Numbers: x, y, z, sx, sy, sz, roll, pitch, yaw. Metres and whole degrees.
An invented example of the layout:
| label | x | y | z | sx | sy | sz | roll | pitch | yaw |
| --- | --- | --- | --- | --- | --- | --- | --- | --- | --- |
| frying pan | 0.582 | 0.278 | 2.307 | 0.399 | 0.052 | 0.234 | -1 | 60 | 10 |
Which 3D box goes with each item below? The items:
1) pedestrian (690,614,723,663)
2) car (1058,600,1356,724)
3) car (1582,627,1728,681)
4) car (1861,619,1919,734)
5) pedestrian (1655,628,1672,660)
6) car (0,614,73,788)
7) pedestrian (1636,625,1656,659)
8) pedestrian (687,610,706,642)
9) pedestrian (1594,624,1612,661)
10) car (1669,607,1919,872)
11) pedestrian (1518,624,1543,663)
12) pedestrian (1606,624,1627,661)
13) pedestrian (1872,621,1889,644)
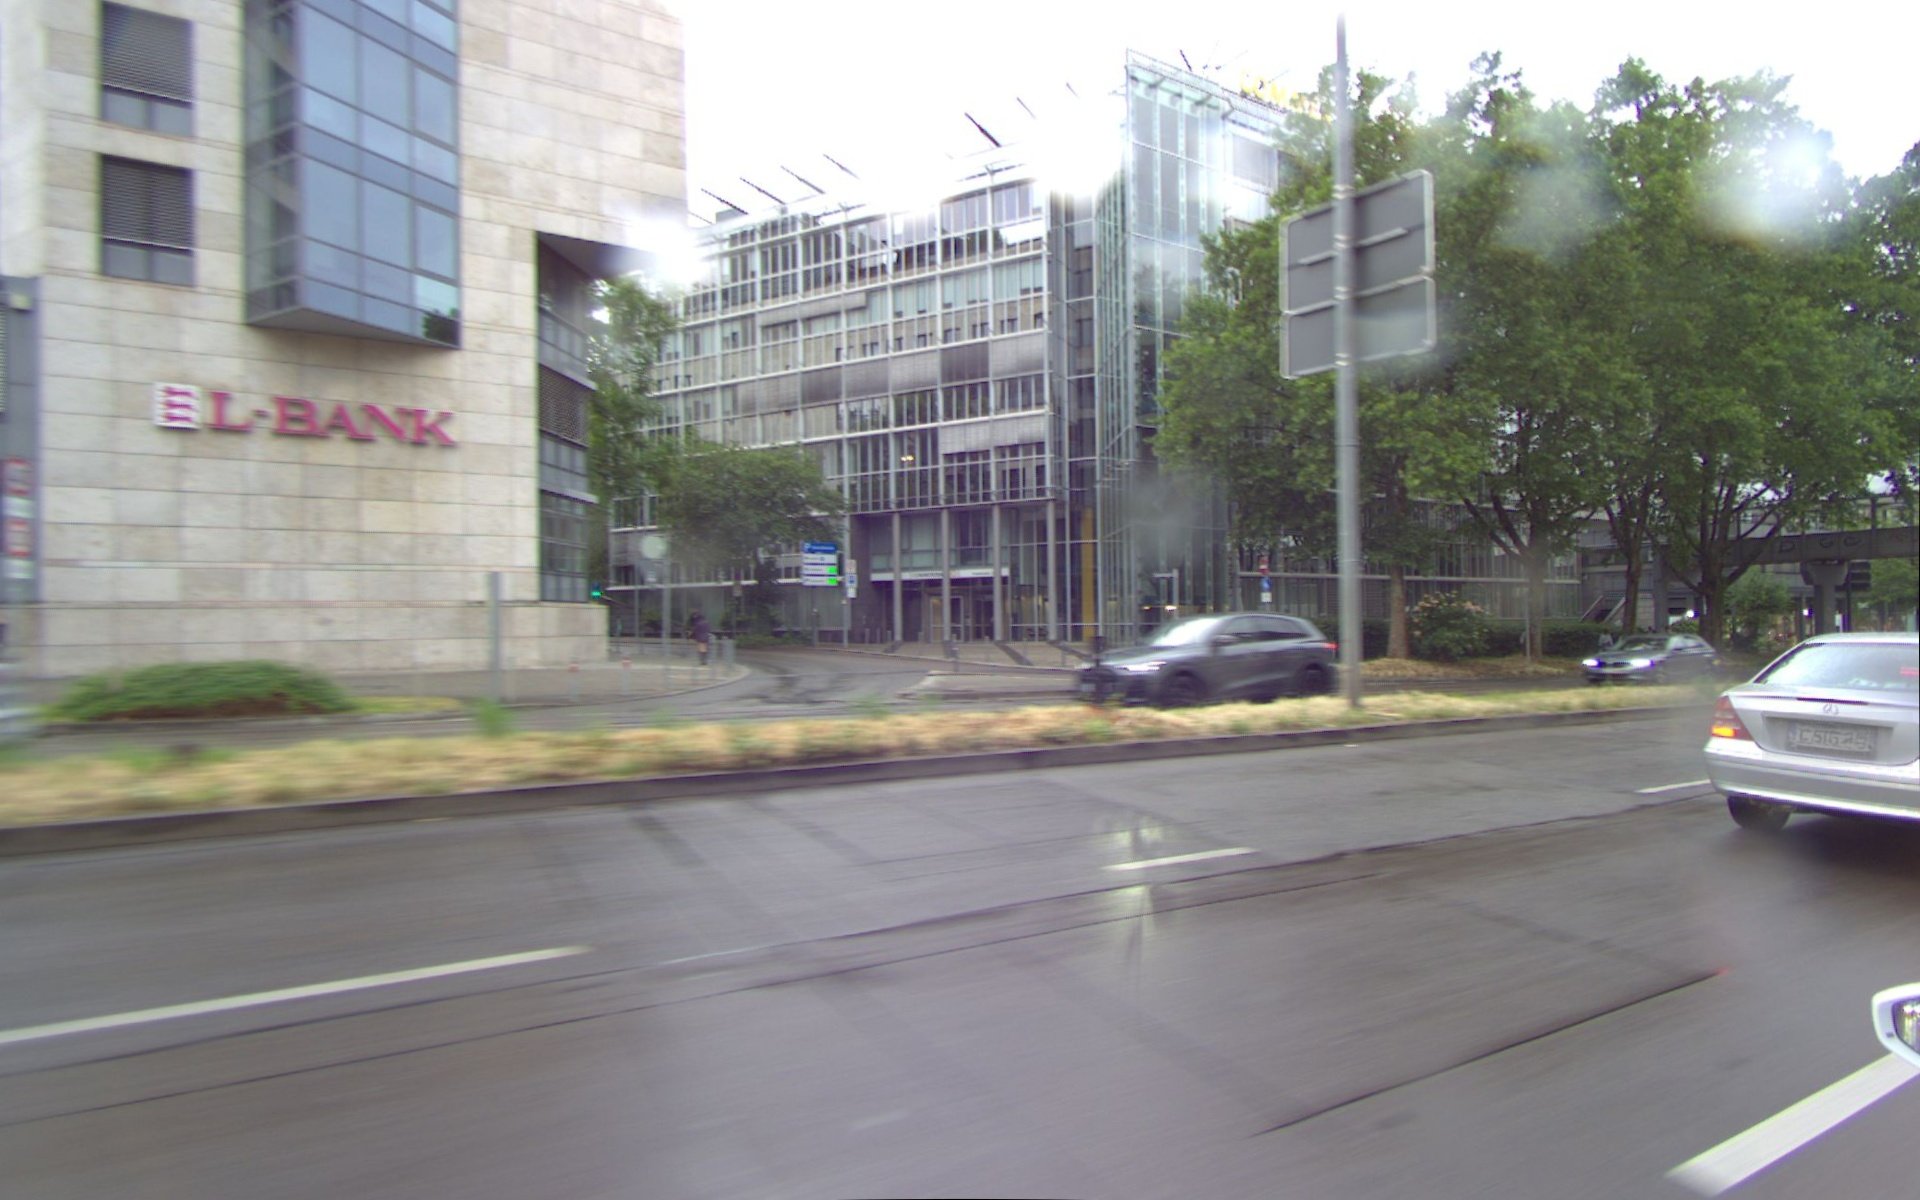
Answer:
| label | x | y | z | sx | sy | sz | roll | pitch | yaw |
| --- | --- | --- | --- | --- | --- | --- | --- | --- | --- |
| pedestrian | -8.367 | 1.261 | 33.190 | 0.658 | 1.591 | 0.818 | -1 | 0 | 38 |
| car | 3.968 | 0.951 | 15.895 | 4.626 | 1.702 | 1.865 | 2 | -2 | -31 |
| car | 20.212 | 1.565 | 29.164 | 4.703 | 1.457 | 1.683 | 2 | -2 | -30 |
| car | 14.729 | 1.019 | 13.820 | 4.815 | 1.498 | 1.866 | 1 | -3 | -27 |
| pedestrian | 37.882 | 2.349 | 54.088 | 0.505 | 1.708 | 0.557 | 0 | -1 | -30 |
| car | -9.729 | 0.763 | 7.707 | 4.066 | 1.378 | 1.590 | 2 | -2 | -28 |
| pedestrian | 37.401 | 2.286 | 54.750 | 0.610 | 1.832 | 0.719 | 0 | -1 | -30 |
| pedestrian | -14.053 | 1.375 | 53.617 | 0.647 | 1.652 | 0.740 | -1 | 0 | 38 |
| pedestrian | 31.967 | 2.099 | 49.951 | 0.505 | 1.832 | 0.603 | 0 | -1 | -30 |
| car | 7.077 | 0.870 | 7.185 | 4.310 | 1.498 | 1.664 | 2 | -1 | -31 |
| pedestrian | 27.050 | 2.041 | 47.623 | 0.793 | 1.832 | 0.731 | 0 | -1 | -30 |
| pedestrian | 32.188 | 2.078 | 49.243 | 0.751 | 1.832 | 0.593 | 0 | -1 | -30 |
| pedestrian | 71.930 | 2.547 | 78.472 | 1.045 | 1.738 | 0.739 | 1 | -1 | -31 |
